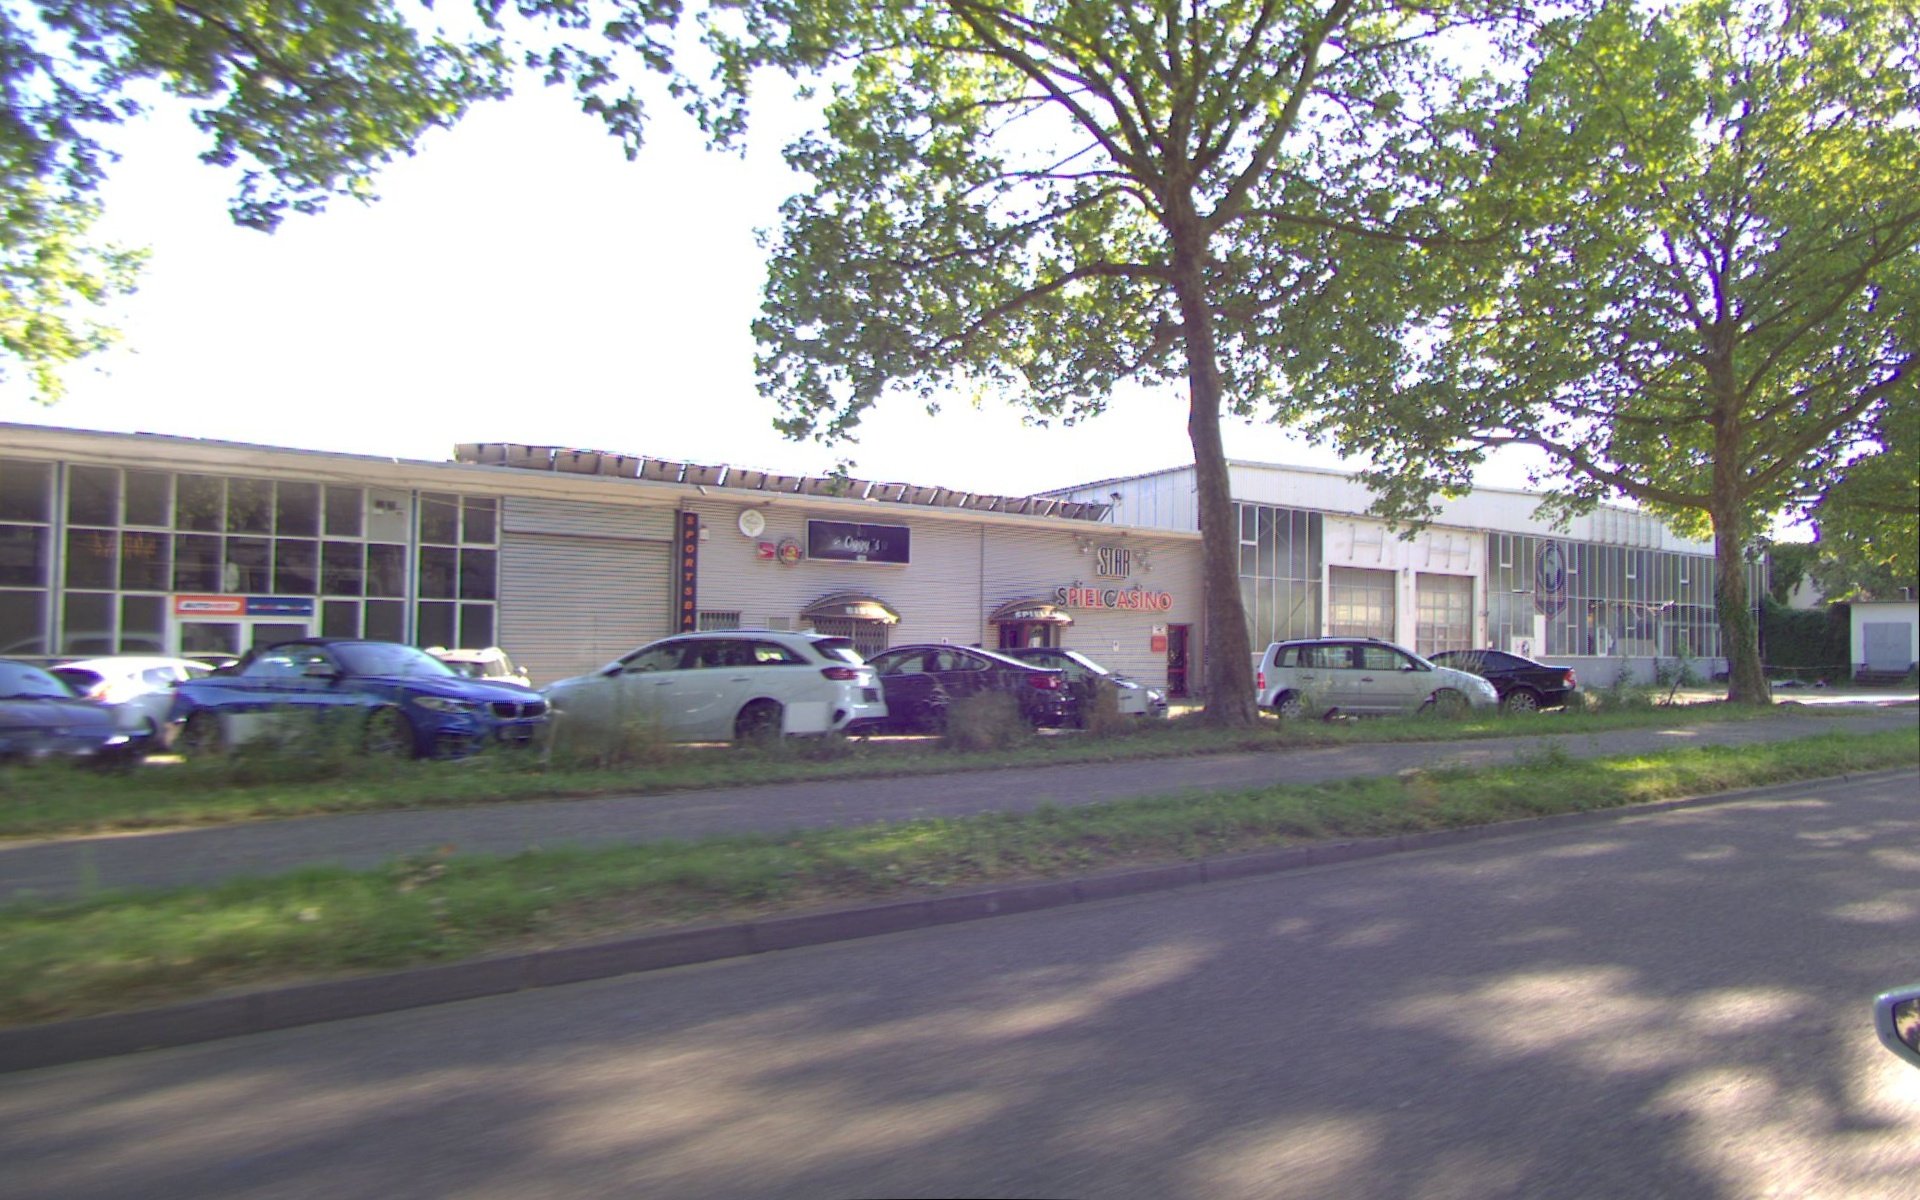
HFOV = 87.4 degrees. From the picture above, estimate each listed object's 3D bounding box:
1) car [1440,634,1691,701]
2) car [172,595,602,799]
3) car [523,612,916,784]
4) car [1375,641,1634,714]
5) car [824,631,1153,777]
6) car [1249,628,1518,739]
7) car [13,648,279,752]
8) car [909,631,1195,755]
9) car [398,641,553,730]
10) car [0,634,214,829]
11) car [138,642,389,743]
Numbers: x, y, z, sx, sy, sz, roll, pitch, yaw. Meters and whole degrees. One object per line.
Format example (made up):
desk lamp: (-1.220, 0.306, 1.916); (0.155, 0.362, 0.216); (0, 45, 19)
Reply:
car: (13.120, 1.425, 22.104); (4.396, 1.323, 2.000); (0, -2, 19)
car: (-6.129, 0.903, 10.814); (3.923, 1.773, 1.999); (1, -1, 23)
car: (-2.846, 1.085, 12.281); (4.176, 1.721, 2.001); (2, -1, 14)
car: (10.956, 1.526, 20.617); (4.396, 1.323, 2.000); (0, -2, 19)
car: (0.480, 1.322, 13.824); (4.176, 1.651, 2.001); (2, -1, 13)
car: (7.867, 1.485, 18.945); (4.398, 1.753, 1.999); (1, -1, 23)
car: (-13.312, 1.573, 16.686); (1.522, 1.403, 3.300); (2, -1, 5)
car: (1.510, 1.400, 16.291); (4.180, 1.651, 1.999); (1, -1, 23)
car: (-9.134, 1.572, 19.214); (1.677, 1.425, 3.294); (2, -1, -7)
car: (-9.219, 1.060, 9.147); (4.180, 1.400, 2.000); (1, -1, 22)
car: (-11.709, 1.487, 17.160); (1.674, 1.425, 3.300); (2, -1, 8)
